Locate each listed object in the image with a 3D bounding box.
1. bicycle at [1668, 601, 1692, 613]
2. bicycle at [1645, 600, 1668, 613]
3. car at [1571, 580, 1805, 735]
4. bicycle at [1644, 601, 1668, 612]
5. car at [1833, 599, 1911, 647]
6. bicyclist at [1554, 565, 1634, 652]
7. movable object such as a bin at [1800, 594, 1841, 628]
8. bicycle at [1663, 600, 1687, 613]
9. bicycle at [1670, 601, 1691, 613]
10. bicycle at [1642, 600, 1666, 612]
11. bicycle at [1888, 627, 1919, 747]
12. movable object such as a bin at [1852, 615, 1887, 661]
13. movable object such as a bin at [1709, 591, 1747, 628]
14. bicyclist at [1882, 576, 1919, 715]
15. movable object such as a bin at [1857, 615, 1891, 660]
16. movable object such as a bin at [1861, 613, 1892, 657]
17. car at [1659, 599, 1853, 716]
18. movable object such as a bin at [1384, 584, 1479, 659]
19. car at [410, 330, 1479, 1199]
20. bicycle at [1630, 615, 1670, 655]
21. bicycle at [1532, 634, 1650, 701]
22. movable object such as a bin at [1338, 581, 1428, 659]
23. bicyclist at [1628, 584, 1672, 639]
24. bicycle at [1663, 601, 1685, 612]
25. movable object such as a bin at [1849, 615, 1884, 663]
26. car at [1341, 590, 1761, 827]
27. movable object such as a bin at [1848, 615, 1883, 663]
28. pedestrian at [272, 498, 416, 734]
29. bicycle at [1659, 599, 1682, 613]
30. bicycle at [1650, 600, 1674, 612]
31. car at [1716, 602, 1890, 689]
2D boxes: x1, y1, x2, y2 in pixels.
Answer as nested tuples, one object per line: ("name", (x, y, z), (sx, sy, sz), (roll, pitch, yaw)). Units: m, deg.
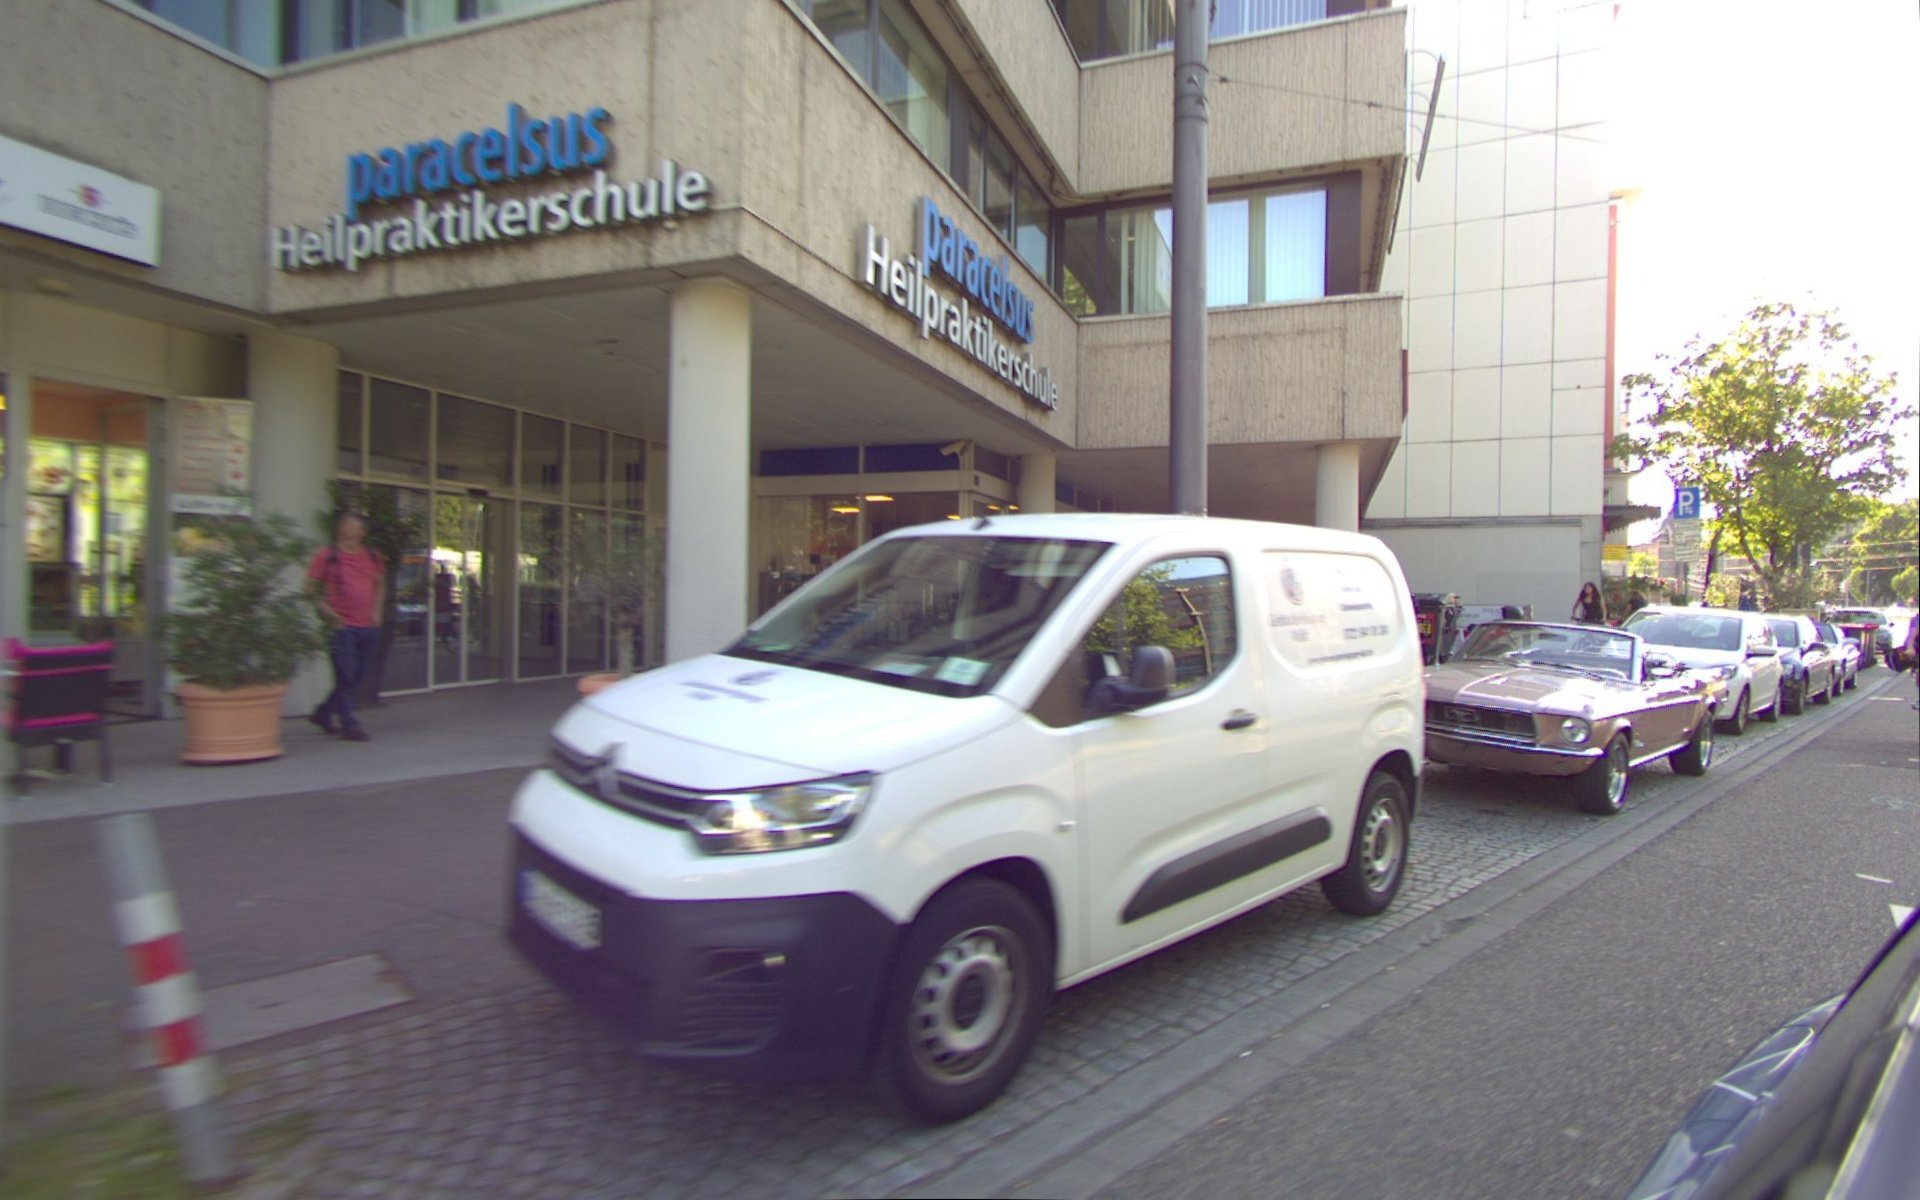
("bicycle", (64.699, 0.613, 90.896), (1.683, 1.024, 0.408), (2, 1, 20))
("bicycle", (67.138, 0.619, 97.495), (1.759, 1.245, 0.413), (1, 0, 19))
("car", (9.718, 0.631, 13.399), (3.804, 1.710, 1.852), (-2, 0, -44))
("bicycle", (67.312, 0.626, 97.871), (1.800, 1.074, 0.413), (0, 0, 19))
("car", (30.486, 0.724, 33.791), (1.766, 1.456, 4.510), (2, 1, 44))
("bicyclist", (12.546, 0.158, 20.044), (0.916, 1.654, 0.944), (-1, 0, -11))
("movable object such as a bin", (36.398, 0.473, 42.827), (1.279, 1.409, 0.908), (-1, 0, 41))
("bicycle", (65.005, 0.565, 91.997), (1.734, 1.114, 0.396), (1, 1, 21))
("bicycle", (64.096, 0.614, 90.001), (1.418, 1.024, 0.407), (2, 1, 25))
("bicycle", (67.400, 0.590, 98.285), (1.800, 1.073, 0.413), (1, 1, 19))
("bicycle", (10.838, 0.914, 11.044), (2.192, 1.150, 0.886), (-1, 0, -44))
("movable object such as a bin", (22.183, 0.915, 24.678), (0.604, 1.082, 0.537), (-1, 0, 43))
("movable object such as a bin", (37.076, 0.465, 48.883), (1.245, 1.730, 0.938), (1, 1, 22))
("bicyclist", (10.909, 0.481, 11.135), (0.972, 1.503, 1.038), (-1, 0, -43))
("movable object such as a bin", (22.684, 0.918, 25.124), (0.606, 1.082, 0.604), (-1, 0, 43))
("movable object such as a bin", (23.942, 0.909, 26.439), (0.573, 1.096, 0.561), (-1, 0, 43))
("car", (12.644, 0.801, 15.988), (4.127, 1.537, 1.673), (-2, 0, -41))
("movable object such as a bin", (9.449, 0.410, 20.292), (1.100, 1.415, 1.340), (-1, 0, -36))
("car", (0.329, 0.344, 4.223), (4.239, 1.835, 1.995), (-2, 0, -44))
("bicycle", (17.391, 0.870, 25.504), (0.534, 0.903, 2.038), (-1, 0, 43))
("bicycle", (12.473, 1.309, 20.012), (1.923, 1.200, 0.824), (-1, 0, -12))
("movable object such as a bin", (8.300, 0.380, 19.896), (0.941, 1.451, 1.304), (-1, 0, -35))
("bicyclist", (17.356, 0.276, 25.453), (0.757, 1.343, 0.979), (-1, 0, 43))
("bicycle", (65.192, 0.620, 92.383), (1.530, 0.978, 0.384), (-1, 0, 23))
("movable object such as a bin", (21.770, 0.922, 24.301), (0.610, 1.119, 0.518), (-1, 0, 43))
("car", (5.319, 0.698, 8.801), (4.649, 1.472, 1.777), (-2, 0, -41))
("movable object such as a bin", (21.364, 0.909, 23.881), (0.592, 1.097, 0.595), (-1, 0, 44))
("pedestrian", (-5.043, 0.125, 8.315), (0.706, 1.839, 0.703), (-1, 0, 14))
("bicycle", (65.494, 0.551, 93.330), (1.623, 1.125, 0.527), (3, 1, 21))
("bicycle", (66.692, 0.582, 96.098), (1.800, 1.082, 0.413), (2, 2, 19))
("car", (16.109, 0.781, 19.259), (4.520, 1.361, 1.854), (-2, 0, -41))
